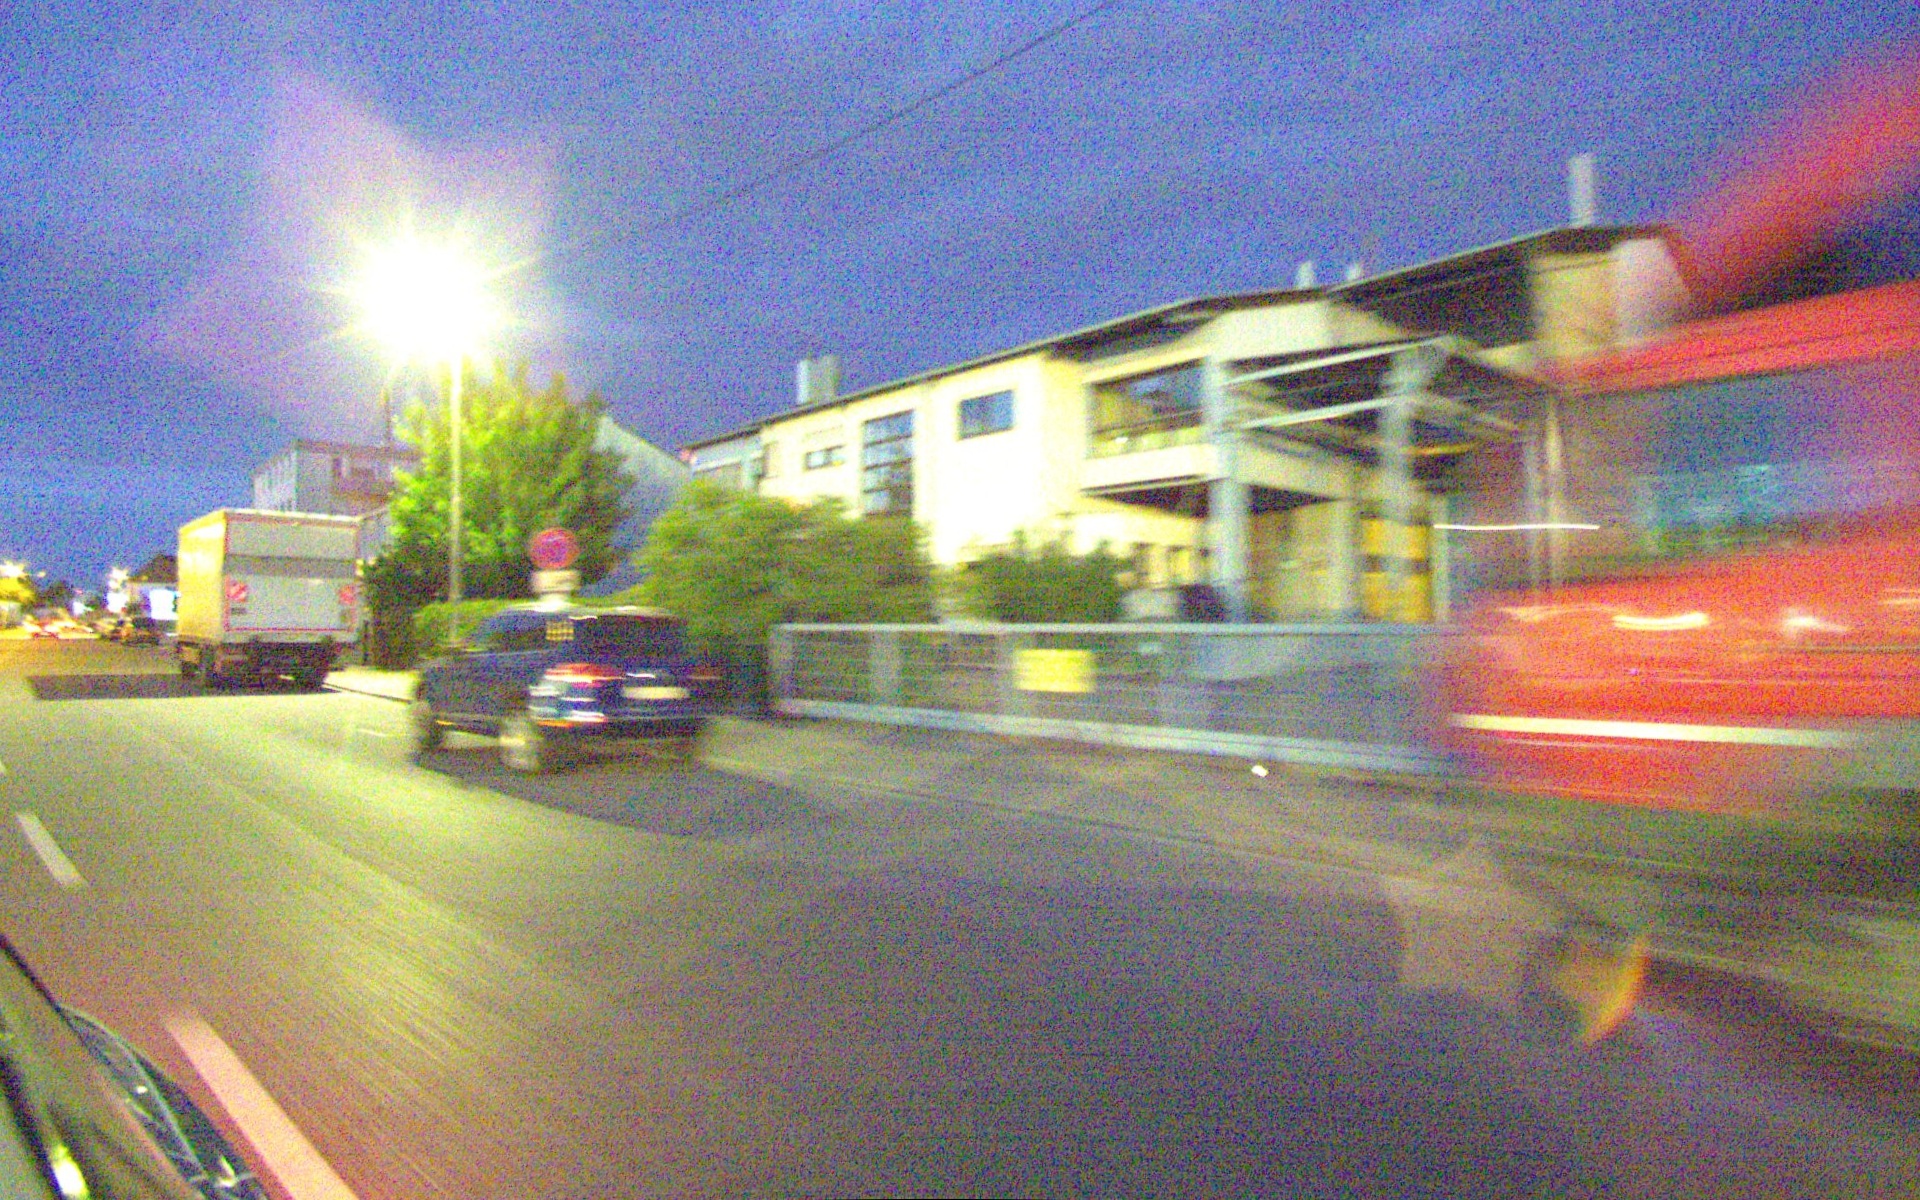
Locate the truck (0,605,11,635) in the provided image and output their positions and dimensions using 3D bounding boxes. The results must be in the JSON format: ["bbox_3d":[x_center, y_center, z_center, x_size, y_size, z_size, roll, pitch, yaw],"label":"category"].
[{"bbox_3d":[-146.057,2.986,153.135,3.026,4.508,5.646,-1,0,-38],"label":"truck"}]

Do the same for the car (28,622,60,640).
[{"bbox_3d":[-74.216,2.483,81.976,1.835,1.431,4.004,1,-1,-43],"label":"car"}]

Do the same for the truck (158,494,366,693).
[{"bbox_3d":[-17.540,-0.053,25.076,2.714,4.065,9.567,1,-1,-44],"label":"truck"}]

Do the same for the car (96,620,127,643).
[{"bbox_3d":[-69.704,2.603,83.137,1.782,1.812,4.884,1,-2,-42],"label":"car"}]

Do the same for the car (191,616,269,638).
[{"bbox_3d":[-54.238,1.988,75.284,1.987,1.572,4.380,-1,-1,23],"label":"car"}]

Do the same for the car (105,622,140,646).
[{"bbox_3d":[-62.258,2.485,75.198,1.923,1.701,4.823,1,-2,-40],"label":"car"}]

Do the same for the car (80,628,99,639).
[{"bbox_3d":[-105.259,4.039,122.363,1.735,1.401,4.315,1,-2,-41],"label":"car"}]

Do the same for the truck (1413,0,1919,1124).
[{"bbox_3d":[6.158,-0.592,1.853,9.335,4.152,2.744,-1,-2,41],"label":"truck"}]

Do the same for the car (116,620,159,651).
[{"bbox_3d":[-52.158,2.209,64.149,1.792,1.863,4.419,1,-2,-43],"label":"car"}]

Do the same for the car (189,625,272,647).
[{"bbox_3d":[-49.600,2.444,68.951,1.779,1.451,4.387,-1,-1,19],"label":"car"}]

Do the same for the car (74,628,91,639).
[{"bbox_3d":[-118.138,4.474,136.205,1.666,1.375,3.884,-1,0,-42],"label":"car"}]

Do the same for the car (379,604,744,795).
[{"bbox_3d":[-4.794,0.962,11.683,5.199,1.730,1.922,-1,-2,44],"label":"car"}]

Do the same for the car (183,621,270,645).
[{"bbox_3d":[-51.166,2.284,70.710,1.984,1.563,4.643,-1,-1,19],"label":"car"}]
